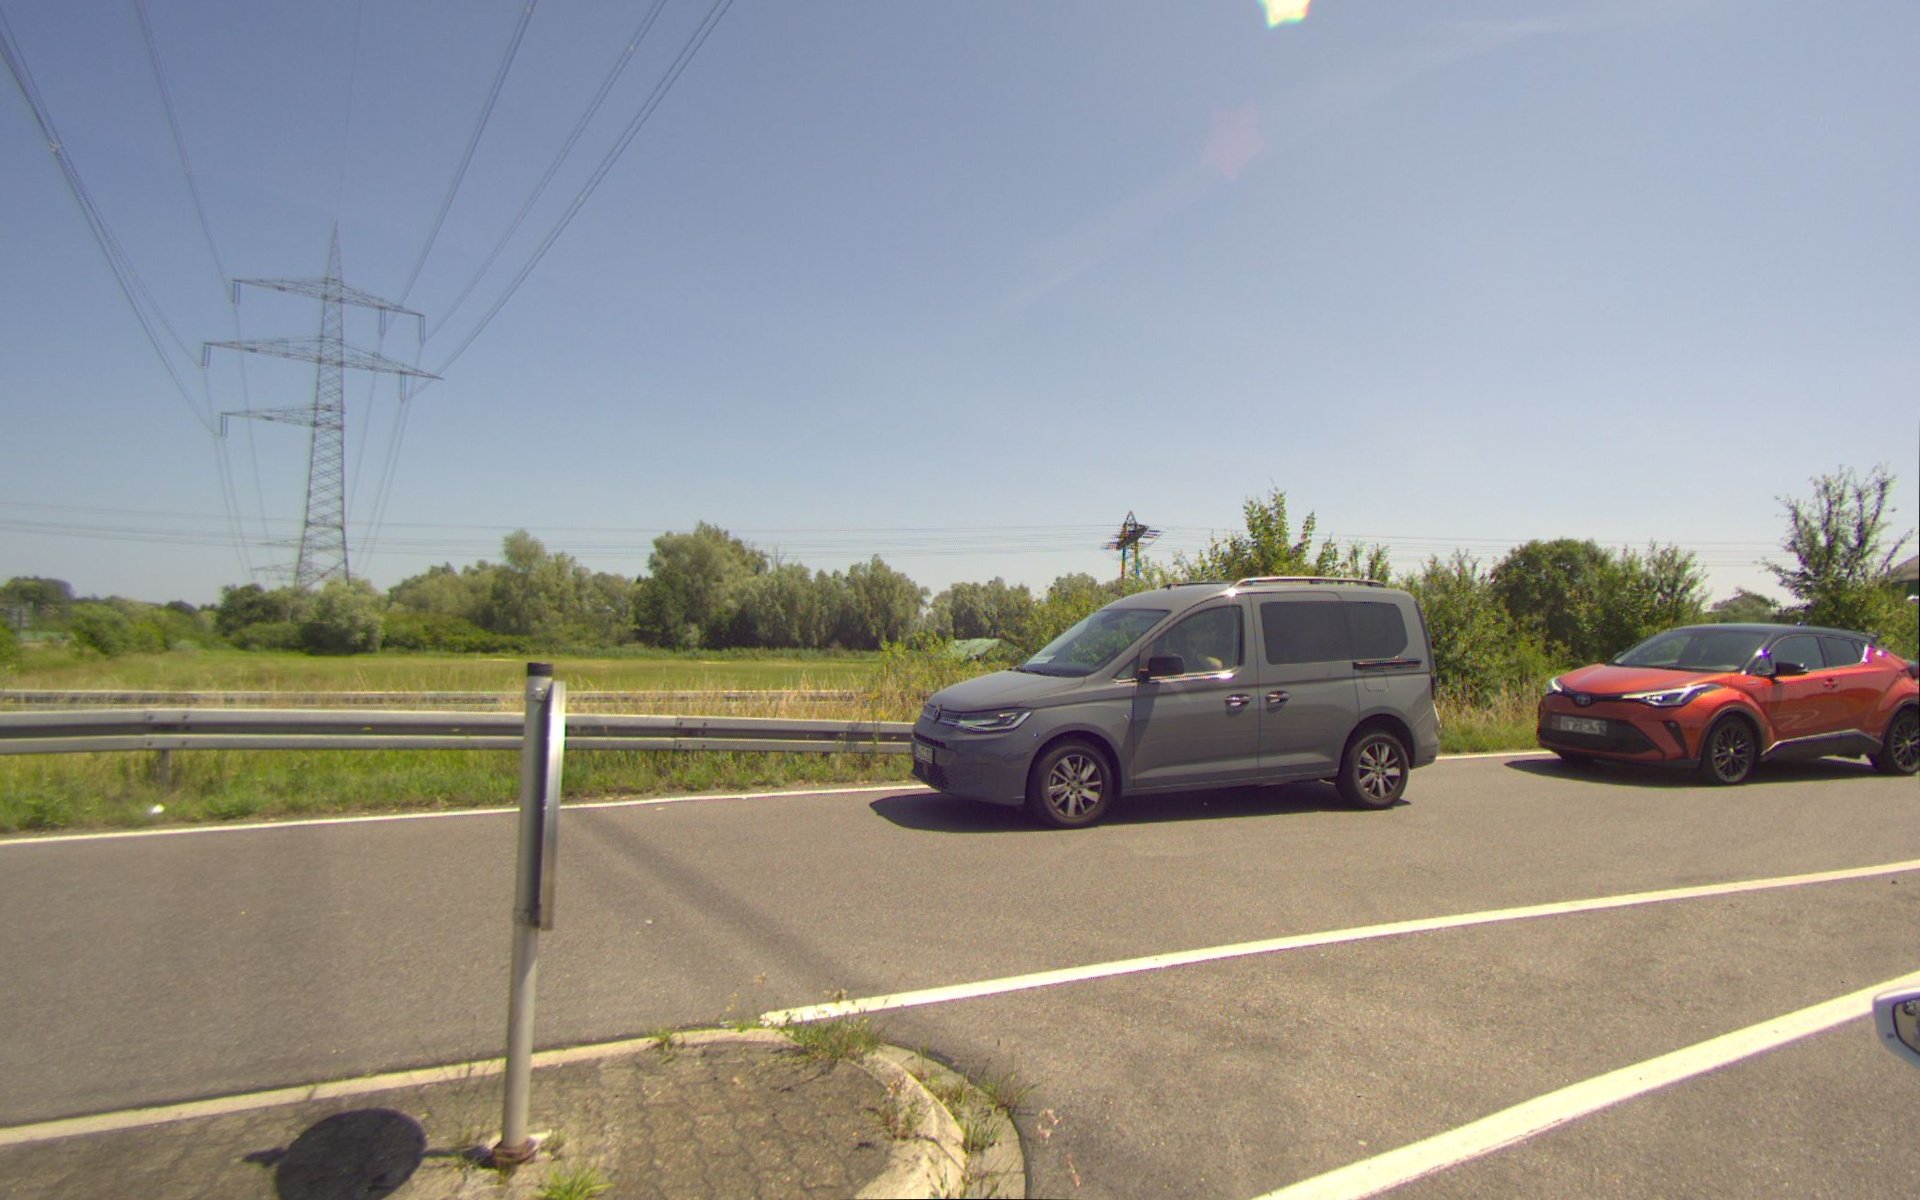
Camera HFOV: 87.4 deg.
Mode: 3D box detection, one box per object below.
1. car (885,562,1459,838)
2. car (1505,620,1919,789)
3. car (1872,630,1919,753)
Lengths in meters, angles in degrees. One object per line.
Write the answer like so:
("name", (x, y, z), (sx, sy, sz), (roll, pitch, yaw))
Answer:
("car", (1.730, 0.753, 8.431), (4.371, 1.856, 1.924), (1, -3, -20))
("car", (8.251, 0.998, 10.714), (4.321, 1.535, 1.798), (1, -1, -17))
("car", (13.995, 1.156, 12.444), (4.731, 1.479, 1.841), (1, 0, -17))
